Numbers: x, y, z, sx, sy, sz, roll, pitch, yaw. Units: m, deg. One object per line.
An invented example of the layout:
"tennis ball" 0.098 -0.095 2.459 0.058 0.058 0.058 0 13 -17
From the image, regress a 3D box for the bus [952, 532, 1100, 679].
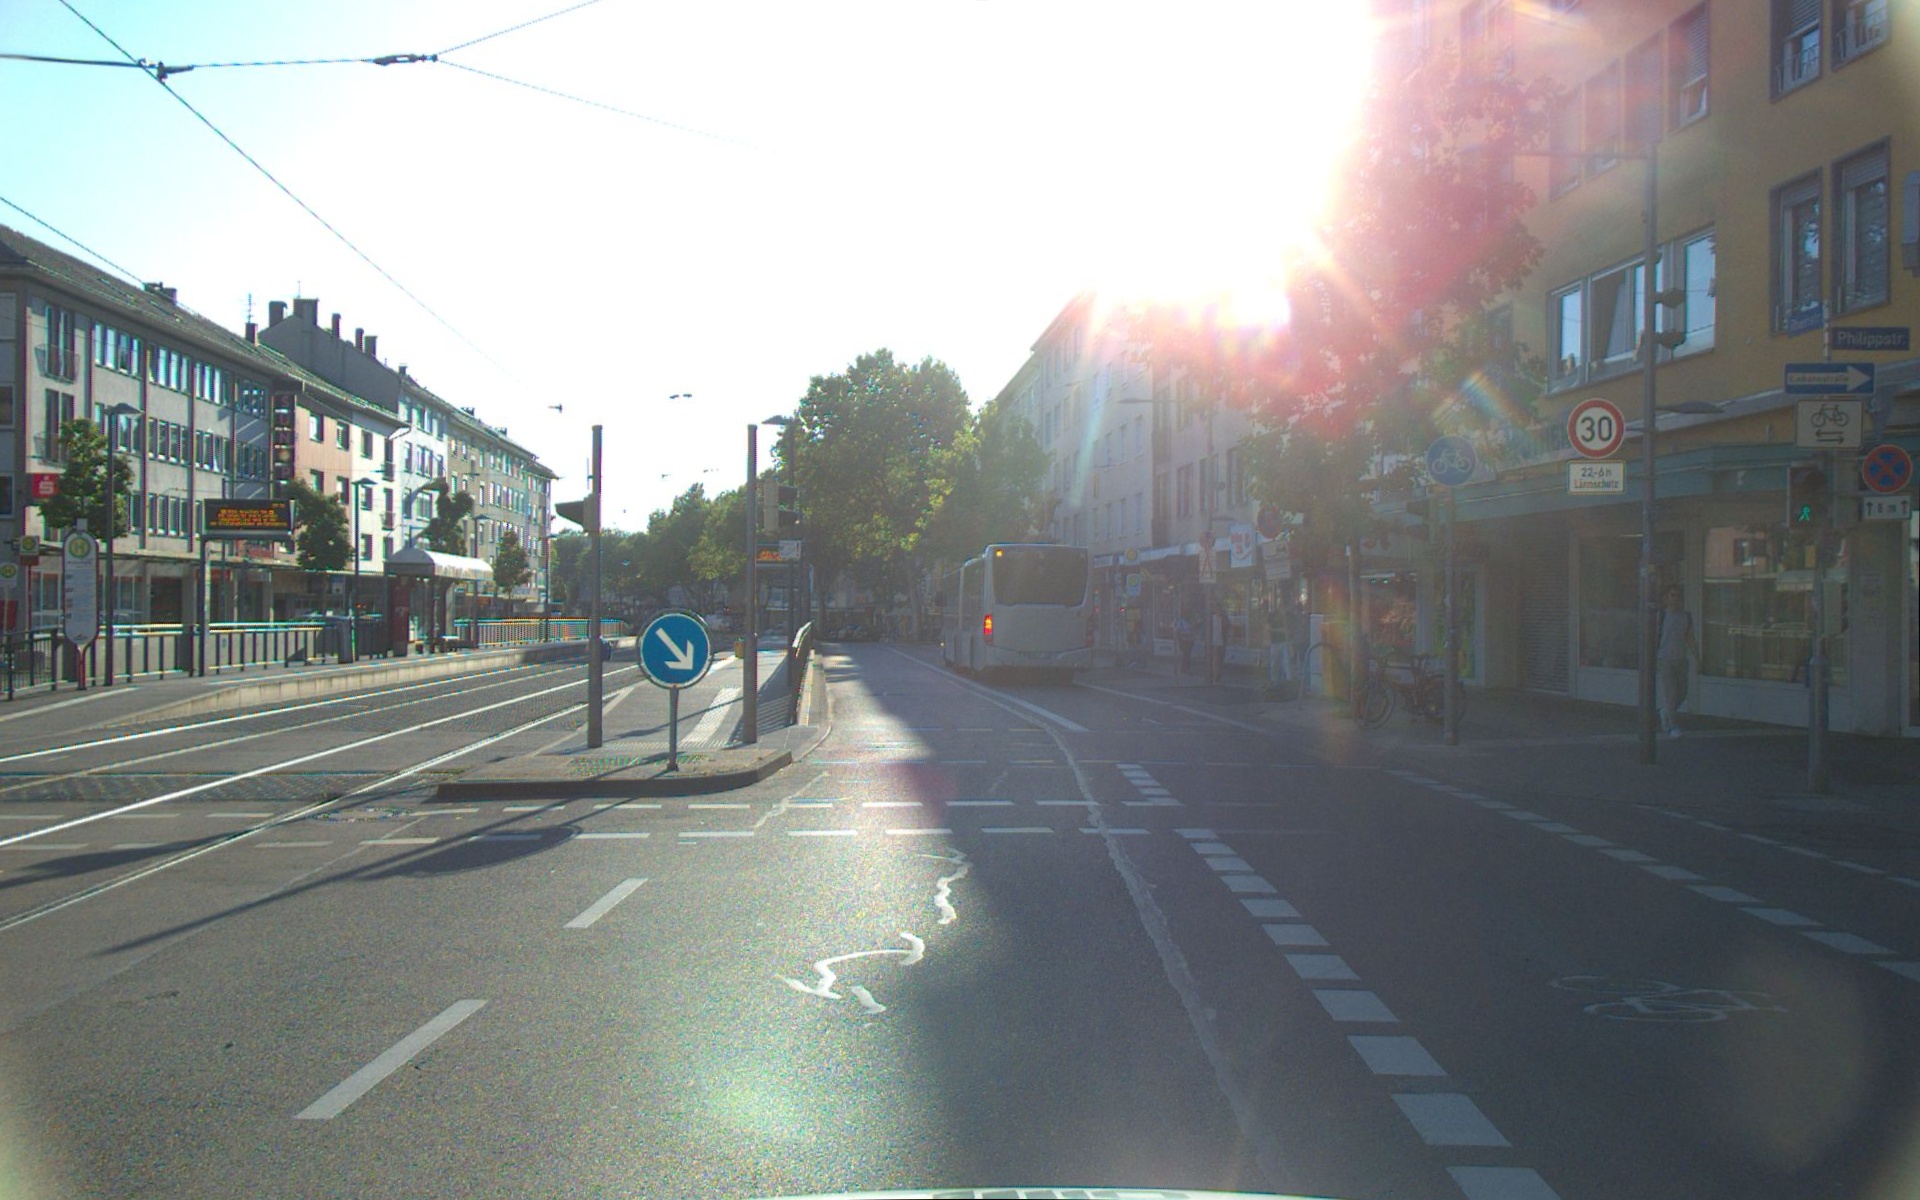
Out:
"bus" 1.424 0.161 40.947 2.643 3.173 9.373 1 -1 -4

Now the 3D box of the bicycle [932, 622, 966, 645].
"bicycle" -0.619 1.848 91.752 1.849 1.096 0.754 -4 0 -2

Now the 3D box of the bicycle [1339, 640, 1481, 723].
"bicycle" 6.078 1.096 22.382 1.764 1.026 0.540 -2 0 -8

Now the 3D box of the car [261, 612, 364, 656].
"car" -25.866 1.331 66.114 1.733 1.709 3.502 0 0 32

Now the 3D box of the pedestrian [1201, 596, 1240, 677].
"pedestrian" 5.913 0.820 37.568 0.709 1.810 0.765 0 -1 -5

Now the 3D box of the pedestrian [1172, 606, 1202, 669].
"pedestrian" 5.853 0.970 42.608 0.598 1.606 0.850 0 0 -4

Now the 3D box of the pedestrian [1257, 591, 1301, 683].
"pedestrian" 6.494 0.747 33.685 0.709 1.838 0.765 0 -1 -5

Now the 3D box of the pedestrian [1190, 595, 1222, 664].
"pedestrian" 6.796 0.815 45.675 0.709 1.872 0.765 0 -1 -5

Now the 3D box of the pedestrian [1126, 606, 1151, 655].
"pedestrian" 6.066 1.021 56.123 0.709 1.661 0.765 0 0 -5

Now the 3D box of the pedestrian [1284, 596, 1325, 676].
"pedestrian" 7.640 0.789 36.681 0.709 1.754 0.765 0 -1 -5

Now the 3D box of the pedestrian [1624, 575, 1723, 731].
"pedestrian" 8.470 0.618 19.663 0.729 1.811 0.893 0 -1 -5

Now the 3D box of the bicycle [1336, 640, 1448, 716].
"bicycle" 6.001 1.081 23.012 1.455 1.026 0.453 0 0 -8

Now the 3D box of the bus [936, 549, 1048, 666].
"bus" 0.817 0.243 50.157 2.643 3.173 9.063 1 -1 -4
